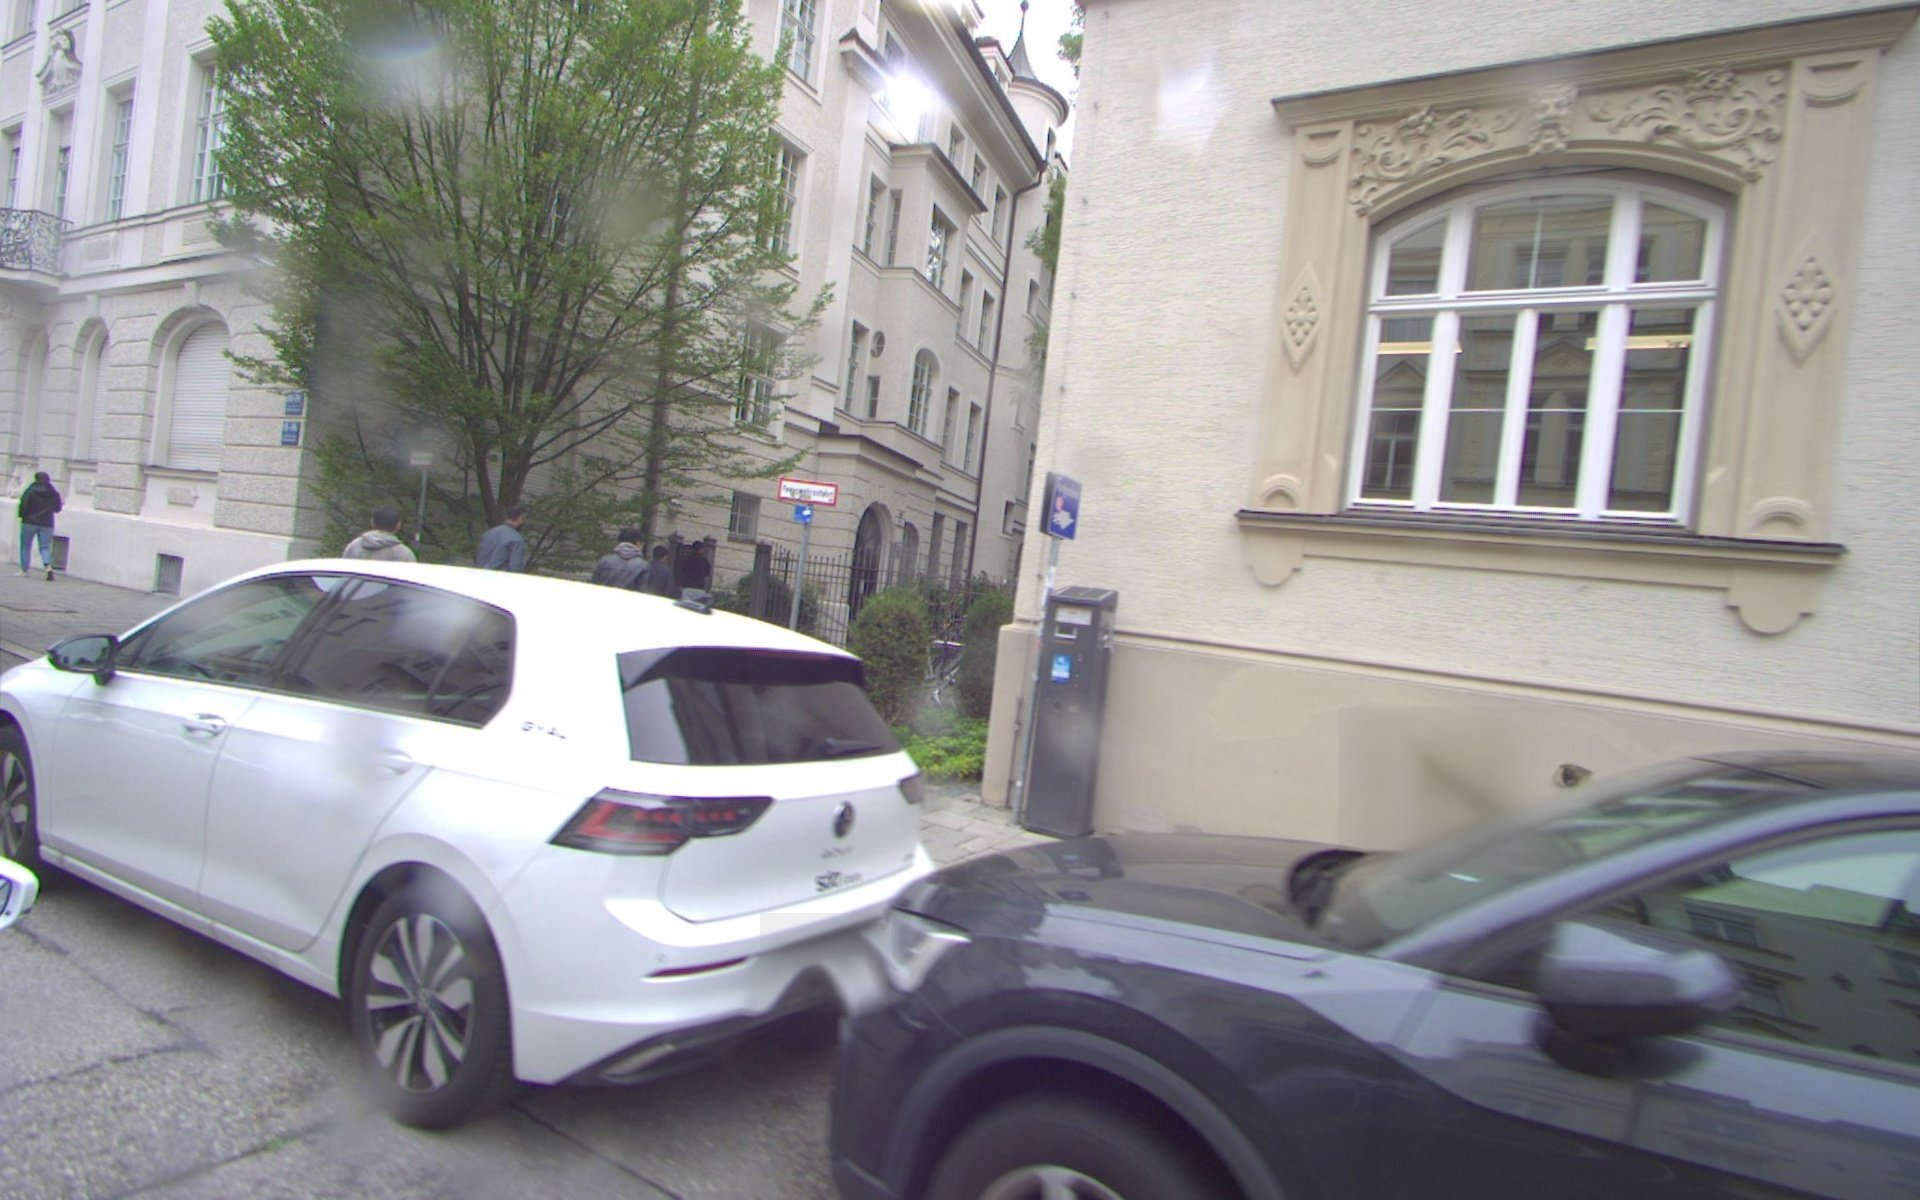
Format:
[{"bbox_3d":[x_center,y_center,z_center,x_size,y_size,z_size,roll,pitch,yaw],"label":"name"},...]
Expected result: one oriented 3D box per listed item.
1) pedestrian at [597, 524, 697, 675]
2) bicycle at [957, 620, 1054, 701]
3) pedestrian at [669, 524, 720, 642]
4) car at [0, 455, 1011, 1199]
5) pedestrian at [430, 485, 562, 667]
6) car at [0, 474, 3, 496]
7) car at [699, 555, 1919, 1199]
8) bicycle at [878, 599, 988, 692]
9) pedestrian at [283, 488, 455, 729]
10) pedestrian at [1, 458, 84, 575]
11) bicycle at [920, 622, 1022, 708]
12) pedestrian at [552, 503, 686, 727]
[{"bbox_3d":[-4.027,-0.001,12.963,0.667,1.841,0.860,7,3,30],"label":"pedestrian"},{"bbox_3d":[0.588,0.780,13.178,1.112,0.919,0.452,6,1,33],"label":"bicycle"},{"bbox_3d":[-4.267,-0.269,16.204,0.545,1.817,0.573,6,1,-8],"label":"pedestrian"},{"bbox_3d":[-2.035,0.434,3.888,3.994,1.526,1.666,7,0,28],"label":"car"},{"bbox_3d":[-4.897,-0.231,10.653,0.661,1.791,0.884,7,0,30],"label":"pedestrian"},{"bbox_3d":[-10.970,-0.695,9.448,4.153,1.469,1.714,7,-1,31],"label":"car"},{"bbox_3d":[1.703,0.974,1.960,4.011,1.515,1.797,7,-2,28],"label":"car"},{"bbox_3d":[-0.310,0.504,11.342,1.112,0.919,0.452,6,1,33],"label":"bicycle"},{"bbox_3d":[-4.504,0.073,7.753,0.855,1.678,0.850,6,0,-21],"label":"pedestrian"},{"bbox_3d":[-14.204,-1.286,15.572,0.798,1.701,0.682,7,3,30],"label":"pedestrian"},{"bbox_3d":[0.129,0.793,12.370,1.112,0.919,0.452,6,1,33],"label":"bicycle"},{"bbox_3d":[-2.911,0.130,8.615,0.661,1.791,0.628,7,1,30],"label":"pedestrian"}]
